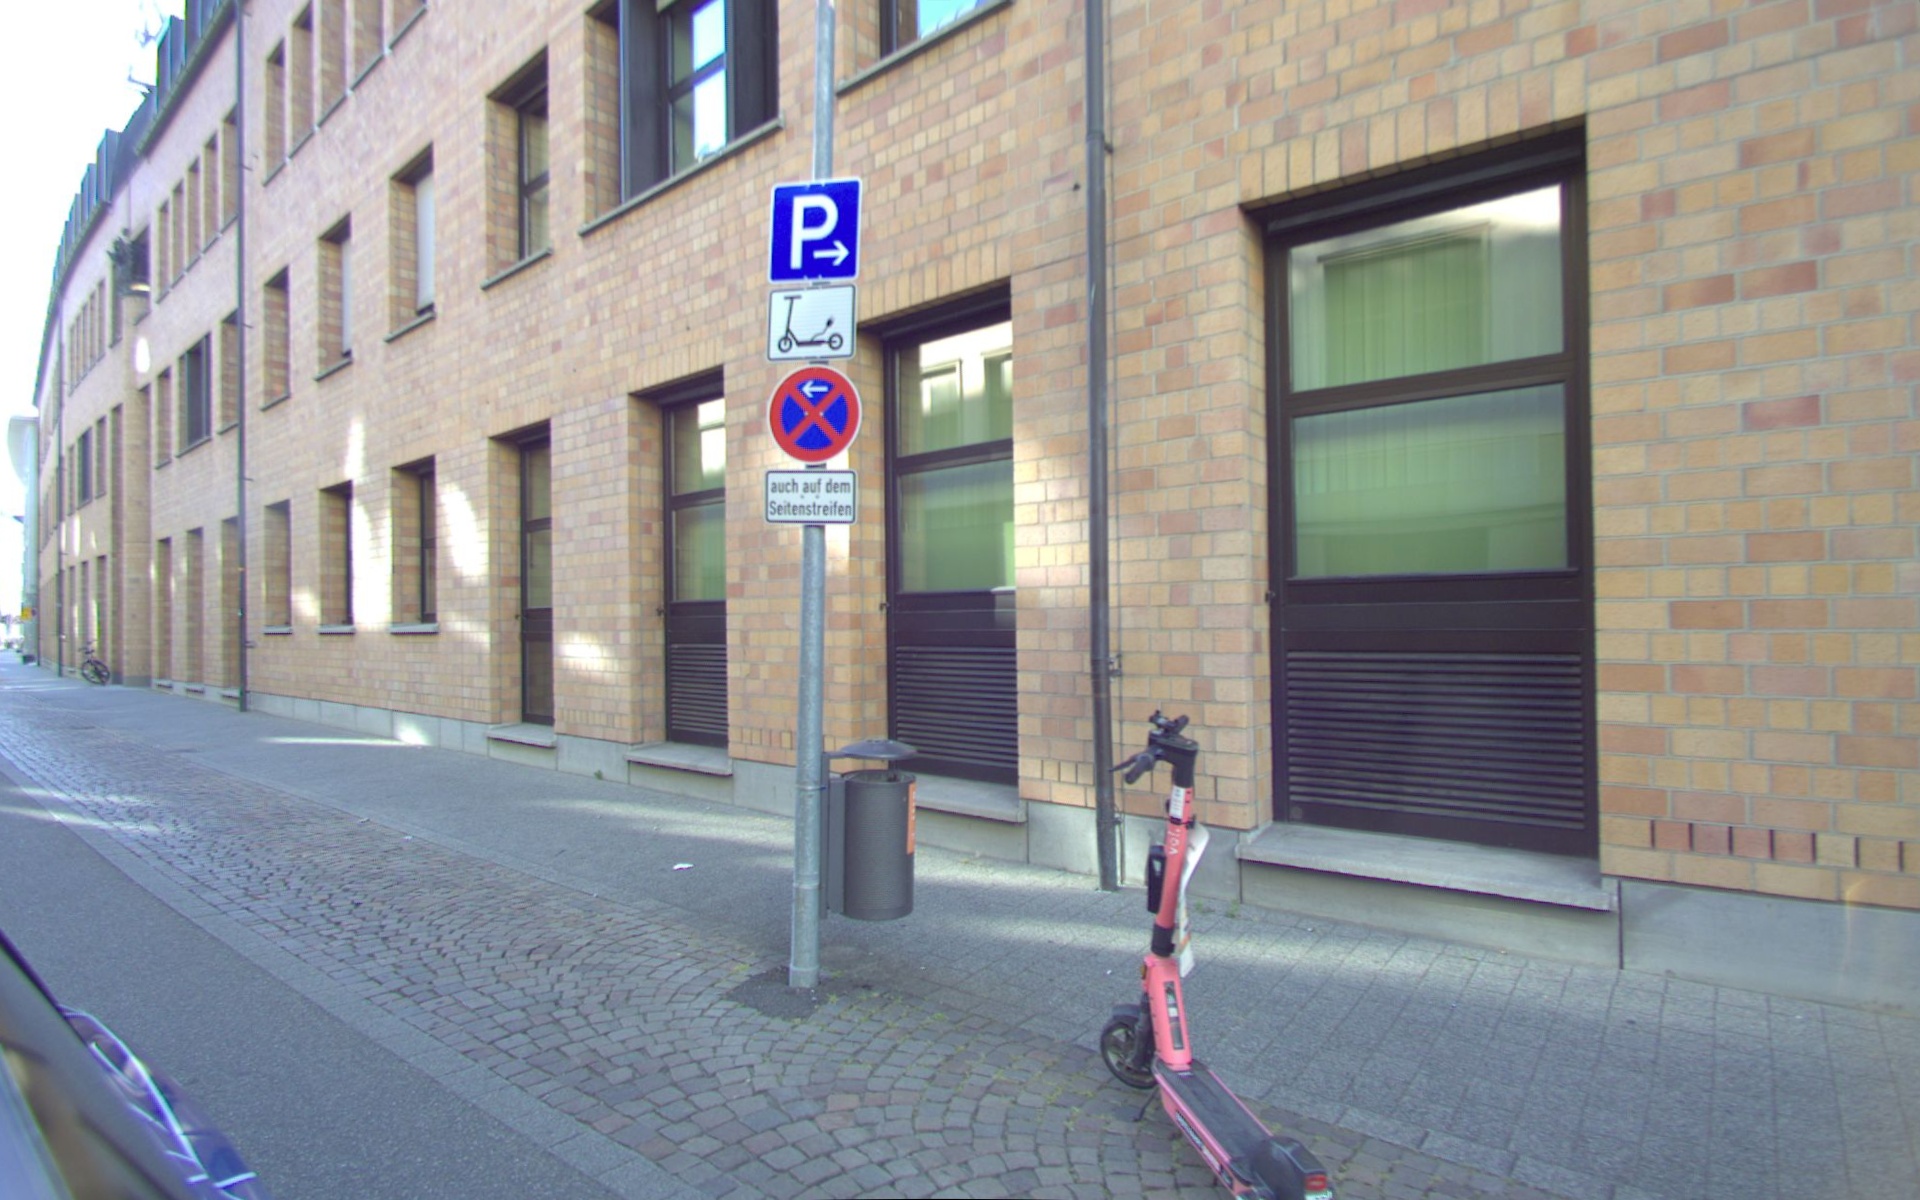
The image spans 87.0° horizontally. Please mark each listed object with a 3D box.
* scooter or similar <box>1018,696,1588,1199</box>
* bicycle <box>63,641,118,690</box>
[{"bbox_3d":[0.769,0.918,2.688,0.688,1.227,1.361,0,-2,-23],"label":"scooter or similar"},{"bbox_3d":[-22.569,1.692,26.265,1.800,1.171,0.626,-3,1,36],"label":"bicycle"}]
